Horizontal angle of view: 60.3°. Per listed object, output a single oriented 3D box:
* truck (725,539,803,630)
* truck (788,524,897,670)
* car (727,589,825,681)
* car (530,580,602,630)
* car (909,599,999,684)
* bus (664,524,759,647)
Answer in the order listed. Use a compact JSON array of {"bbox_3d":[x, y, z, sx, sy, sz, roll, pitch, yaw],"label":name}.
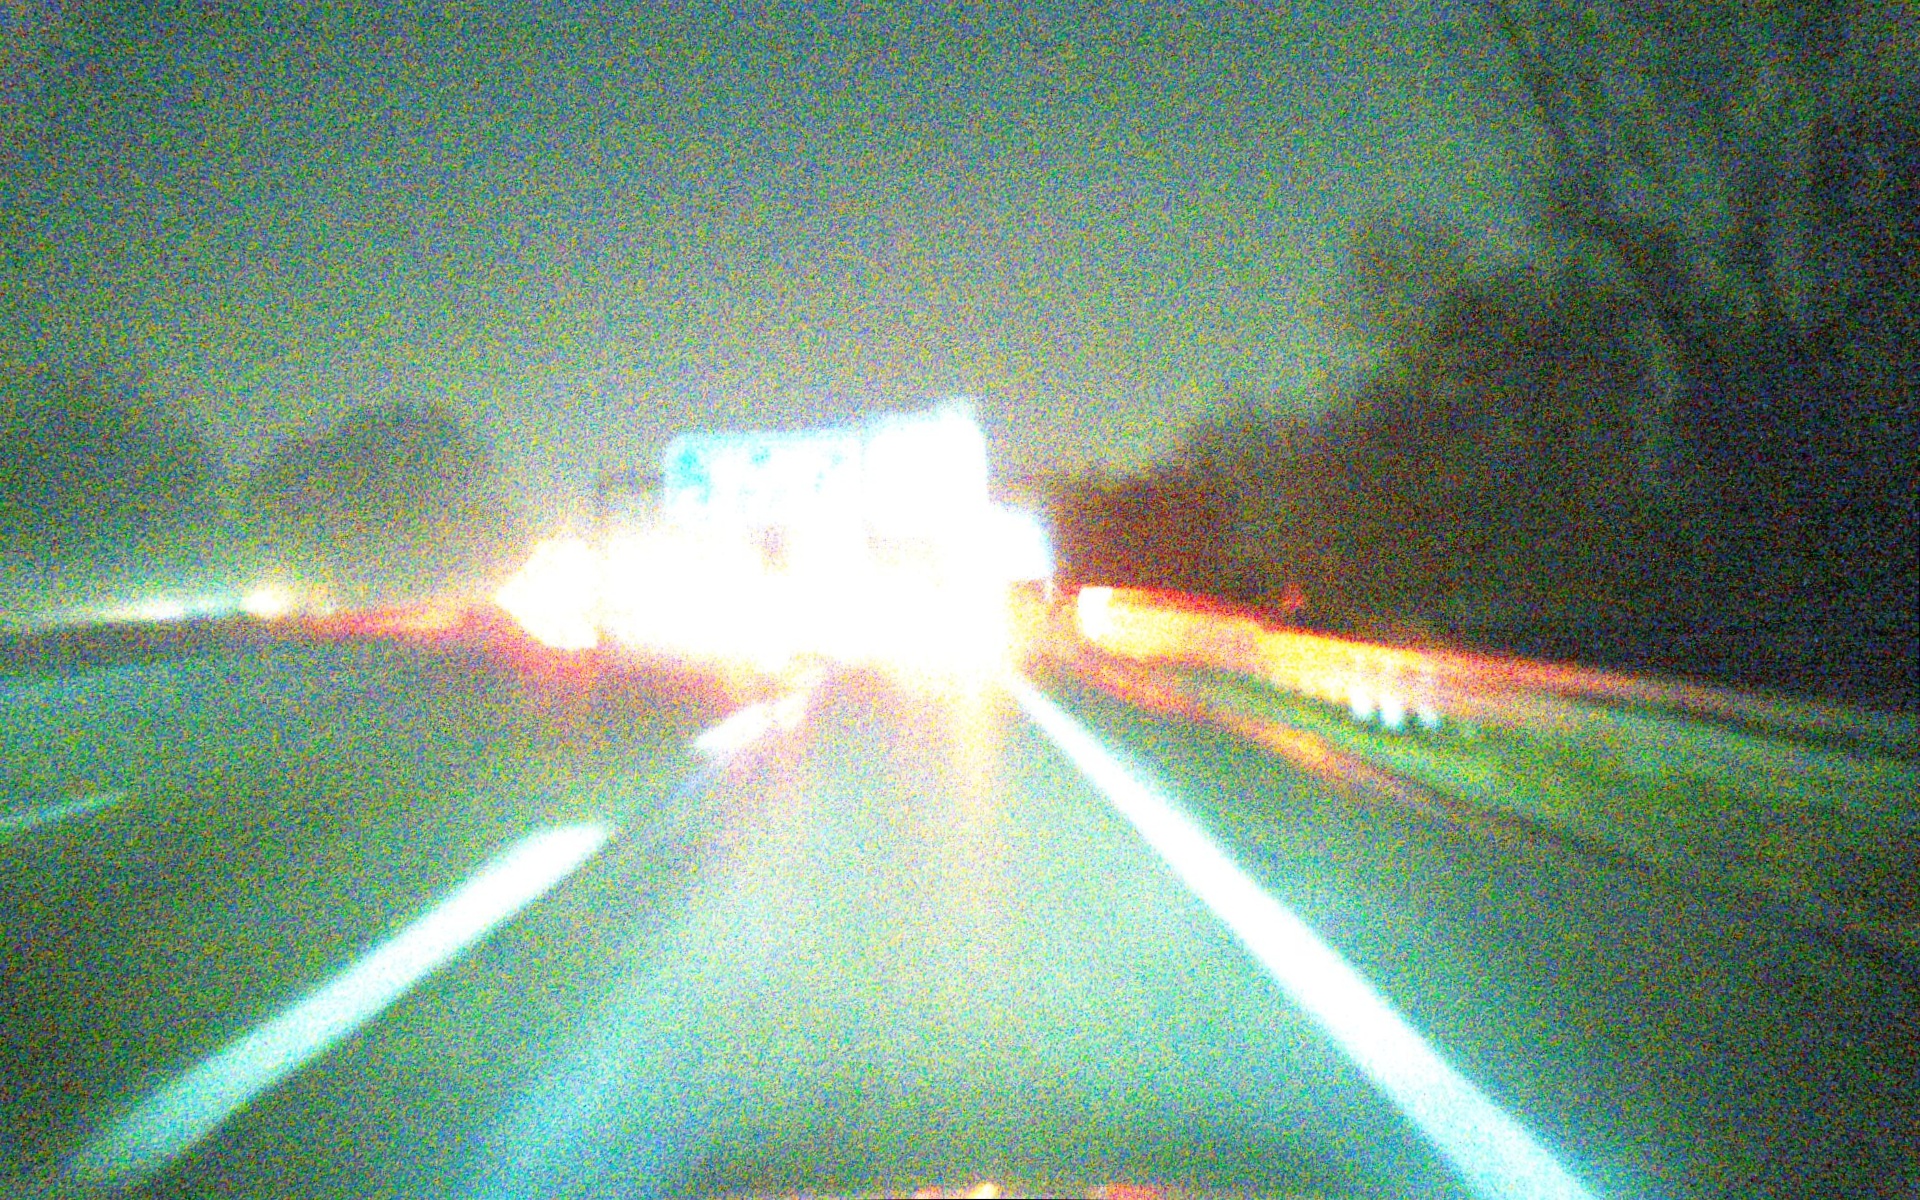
[{"bbox_3d":[-13.072,-0.990,111.543,4.125,5.747,11.462,1,0,-2],"label":"truck"},{"bbox_3d":[-4.906,-0.083,71.763,4.125,5.747,11.462,1,0,-2],"label":"truck"},{"bbox_3d":[-4.379,0.810,40.001,2.084,2.049,4.642,1,0,-4],"label":"car"},{"bbox_3d":[-13.435,0.163,56.610,1.956,1.624,3.993,1,0,-8],"label":"car"},{"bbox_3d":[-0.169,0.917,38.407,1.953,1.839,3.999,1,0,-1],"label":"car"},{"bbox_3d":[-10.068,-0.531,68.044,3.036,4.587,10.902,1,0,-5],"label":"bus"}]
